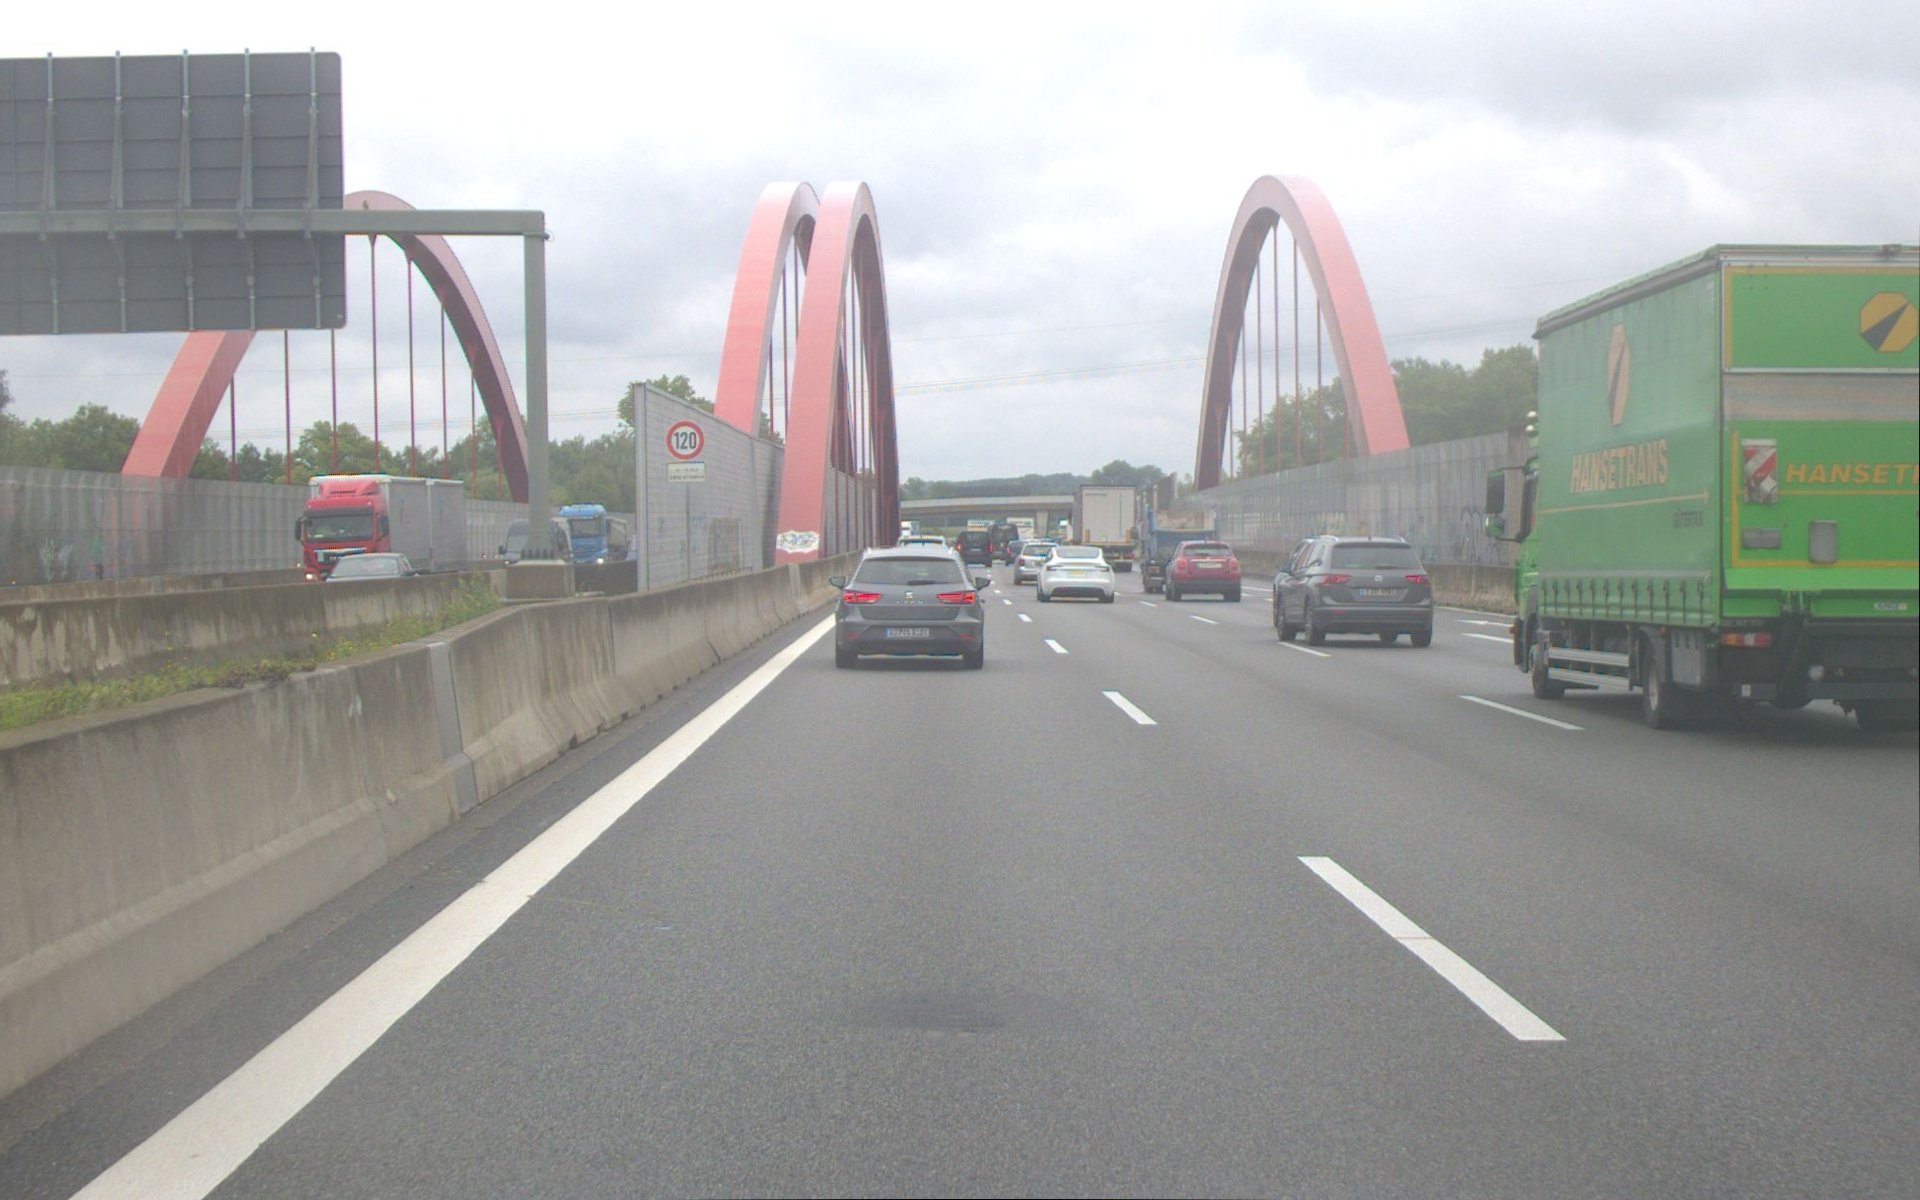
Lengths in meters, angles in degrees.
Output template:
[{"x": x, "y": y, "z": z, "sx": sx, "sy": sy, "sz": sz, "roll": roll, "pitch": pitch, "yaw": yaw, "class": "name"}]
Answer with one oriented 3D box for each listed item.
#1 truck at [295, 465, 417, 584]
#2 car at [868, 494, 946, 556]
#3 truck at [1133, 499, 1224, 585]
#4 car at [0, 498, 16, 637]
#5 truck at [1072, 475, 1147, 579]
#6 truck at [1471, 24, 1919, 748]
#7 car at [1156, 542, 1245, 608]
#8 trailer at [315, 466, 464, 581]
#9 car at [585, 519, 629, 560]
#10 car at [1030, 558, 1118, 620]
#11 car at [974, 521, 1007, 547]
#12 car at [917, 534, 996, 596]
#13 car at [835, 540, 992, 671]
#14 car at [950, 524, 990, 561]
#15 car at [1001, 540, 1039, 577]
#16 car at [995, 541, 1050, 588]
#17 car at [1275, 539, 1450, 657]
[{"x": -19.522, "y": -2.443, "z": 111.427, "sx": 2.984, "sy": 3.740, "sz": 5.917, "roll": 1, "pitch": 1, "yaw": -1, "class": "truck"}, {"x": -1.412, "y": -1.977, "z": 90.962, "sx": 1.993, "sy": 1.579, "sz": 4.000, "roll": -1, "pitch": 1, "yaw": -1, "class": "car"}, {"x": 6.625, "y": -1.774, "z": 104.813, "sx": 2.361, "sy": 2.498, "sz": 6.144, "roll": 1, "pitch": 1, "yaw": 0, "class": "truck"}, {"x": -14.960, "y": -0.423, "z": 46.939, "sx": 2.214, "sy": 2.007, "sz": 7.059, "roll": 1, "pitch": 1, "yaw": 0, "class": "car"}, {"x": 6.940, "y": -3.407, "z": 160.980, "sx": 3.044, "sy": 4.718, "sz": 7.680, "roll": 1, "pitch": 1, "yaw": 0, "class": "truck"}, {"x": 7.476, "y": -1.621, "z": 30.694, "sx": 3.997, "sy": 5.248, "sz": 11.220, "roll": 1, "pitch": 1, "yaw": 0, "class": "truck"}, {"x": 6.300, "y": -0.673, "z": 90.433, "sx": 1.957, "sy": 1.641, "sz": 4.000, "roll": 1, "pitch": 1, "yaw": -1, "class": "car"}, {"x": -19.664, "y": -2.640, "z": 119.446, "sx": 2.984, "sy": 3.716, "sz": 14.309, "roll": 1, "pitch": 1, "yaw": -1, "class": "trailer"}, {"x": -17.891, "y": -3.067, "z": 174.518, "sx": 1.993, "sy": 2.007, "sz": 4.193, "roll": 1, "pitch": 1, "yaw": -3, "class": "car"}, {"x": 2.851, "y": -0.306, "z": 86.591, "sx": 1.993, "sy": 1.481, "sz": 4.000, "roll": 0, "pitch": 1, "yaw": -1, "class": "car"}, {"x": 1.996, "y": -4.289, "z": 223.367, "sx": 1.993, "sy": 1.618, "sz": 4.000, "roll": 1, "pitch": 1, "yaw": 2, "class": "car"}, {"x": -0.105, "y": -0.845, "z": 80.897, "sx": 1.781, "sy": 1.401, "sz": 3.626, "roll": 0, "pitch": 1, "yaw": -1, "class": "car"}, {"x": -0.523, "y": 0.027, "z": 40.780, "sx": 1.764, "sy": 1.448, "sz": 4.000, "roll": 1, "pitch": 1, "yaw": 0, "class": "car"}, {"x": 0.494, "y": -2.917, "z": 174.685, "sx": 1.993, "sy": 1.809, "sz": 4.000, "roll": 1, "pitch": 1, "yaw": 0, "class": "car"}, {"x": 3.392, "y": -2.342, "z": 194.091, "sx": 1.993, "sy": 2.007, "sz": 4.000, "roll": 1, "pitch": 1, "yaw": 0, "class": "car"}, {"x": 2.081, "y": -1.200, "z": 115.106, "sx": 1.702, "sy": 1.538, "sz": 3.839, "roll": 0, "pitch": 1, "yaw": -1, "class": "car"}, {"x": 5.940, "y": -0.061, "z": 51.191, "sx": 1.911, "sy": 1.664, "sz": 4.105, "roll": 0, "pitch": 1, "yaw": -3, "class": "car"}]
